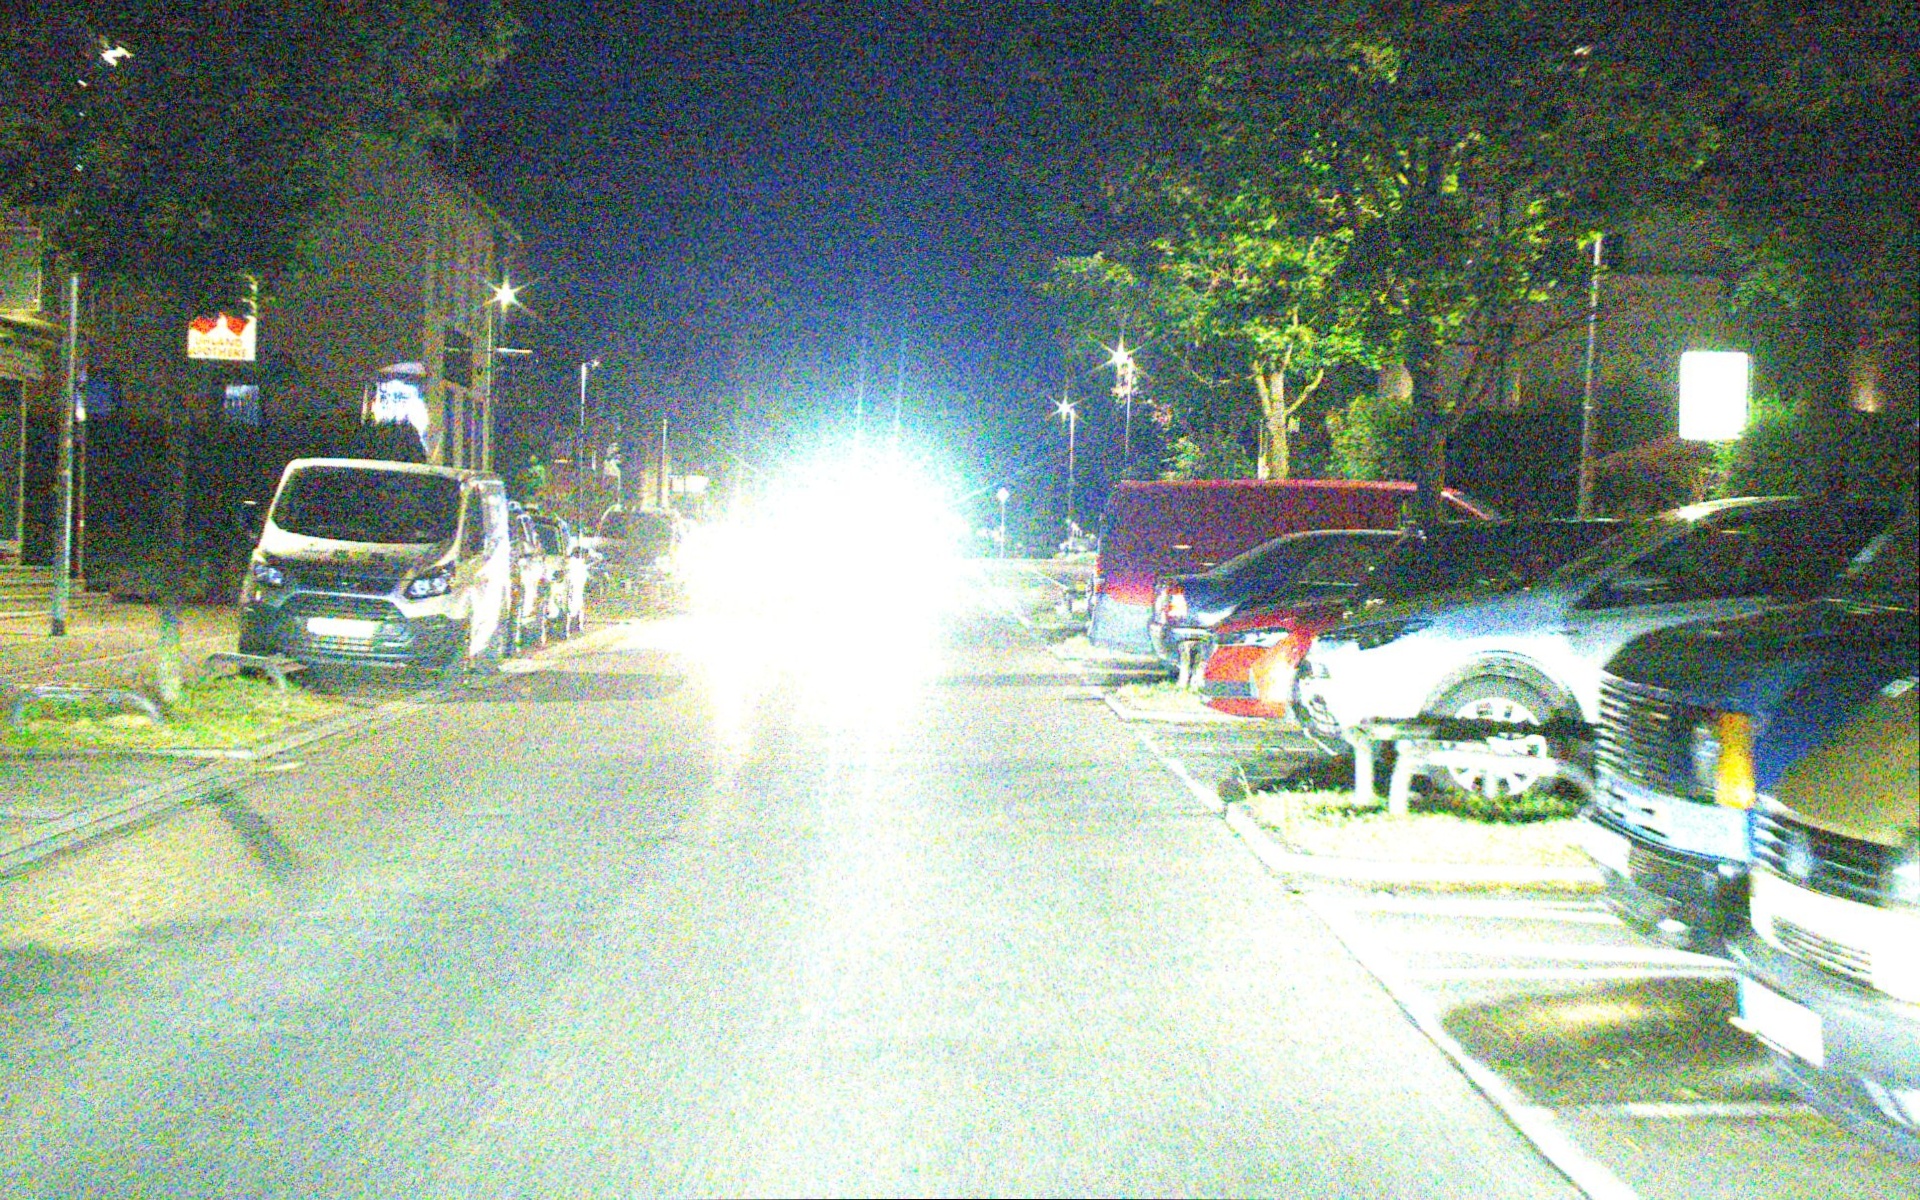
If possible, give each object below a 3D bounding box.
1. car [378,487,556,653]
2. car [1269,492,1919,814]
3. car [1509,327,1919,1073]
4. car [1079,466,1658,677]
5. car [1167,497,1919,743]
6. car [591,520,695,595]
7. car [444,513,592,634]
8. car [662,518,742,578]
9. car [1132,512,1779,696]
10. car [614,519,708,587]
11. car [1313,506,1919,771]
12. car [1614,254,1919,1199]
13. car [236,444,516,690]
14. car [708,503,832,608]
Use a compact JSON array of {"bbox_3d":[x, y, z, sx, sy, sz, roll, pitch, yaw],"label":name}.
[{"bbox_3d":[-5.394,-0.354,37.935,1.534,1.682,3.212,3,1,-2],"label":"car"},{"bbox_3d":[4.364,0.228,18.365,5.182,1.588,2.102,-1,1,-2],"label":"car"},{"bbox_3d":[4.440,0.221,10.382,5.182,2.007,2.102,-1,1,-2],"label":"car"},{"bbox_3d":[3.817,-0.273,32.083,5.184,1.880,2.101,0,1,9],"label":"car"},{"bbox_3d":[4.124,0.101,23.856,5.182,1.588,2.102,-1,1,-2],"label":"car"},{"bbox_3d":[-5.853,-0.810,63.755,1.683,1.326,3.600,1,1,-2],"label":"car"},{"bbox_3d":[-5.494,-0.358,42.971,1.534,1.446,3.119,1,1,-2],"label":"car"},{"bbox_3d":[-5.942,-1.209,79.527,1.683,1.326,3.600,1,1,-2],"label":"car"},{"bbox_3d":[4.142,0.006,29.371,5.182,1.464,2.102,-1,1,-2],"label":"car"},{"bbox_3d":[-6.034,-0.971,69.657,1.683,1.326,3.600,1,1,-2],"label":"car"},{"bbox_3d":[4.915,0.190,21.307,5.182,1.519,2.102,-1,1,-2],"label":"car"},{"bbox_3d":[4.204,0.328,7.318,5.182,2.007,2.102,-1,1,-2],"label":"car"},{"bbox_3d":[-5.182,-0.329,31.032,1.824,1.979,4.466,3,1,-2],"label":"car"},{"bbox_3d":[-3.041,-0.749,55.678,1.927,1.643,3.822,0,2,-2],"label":"car"}]
